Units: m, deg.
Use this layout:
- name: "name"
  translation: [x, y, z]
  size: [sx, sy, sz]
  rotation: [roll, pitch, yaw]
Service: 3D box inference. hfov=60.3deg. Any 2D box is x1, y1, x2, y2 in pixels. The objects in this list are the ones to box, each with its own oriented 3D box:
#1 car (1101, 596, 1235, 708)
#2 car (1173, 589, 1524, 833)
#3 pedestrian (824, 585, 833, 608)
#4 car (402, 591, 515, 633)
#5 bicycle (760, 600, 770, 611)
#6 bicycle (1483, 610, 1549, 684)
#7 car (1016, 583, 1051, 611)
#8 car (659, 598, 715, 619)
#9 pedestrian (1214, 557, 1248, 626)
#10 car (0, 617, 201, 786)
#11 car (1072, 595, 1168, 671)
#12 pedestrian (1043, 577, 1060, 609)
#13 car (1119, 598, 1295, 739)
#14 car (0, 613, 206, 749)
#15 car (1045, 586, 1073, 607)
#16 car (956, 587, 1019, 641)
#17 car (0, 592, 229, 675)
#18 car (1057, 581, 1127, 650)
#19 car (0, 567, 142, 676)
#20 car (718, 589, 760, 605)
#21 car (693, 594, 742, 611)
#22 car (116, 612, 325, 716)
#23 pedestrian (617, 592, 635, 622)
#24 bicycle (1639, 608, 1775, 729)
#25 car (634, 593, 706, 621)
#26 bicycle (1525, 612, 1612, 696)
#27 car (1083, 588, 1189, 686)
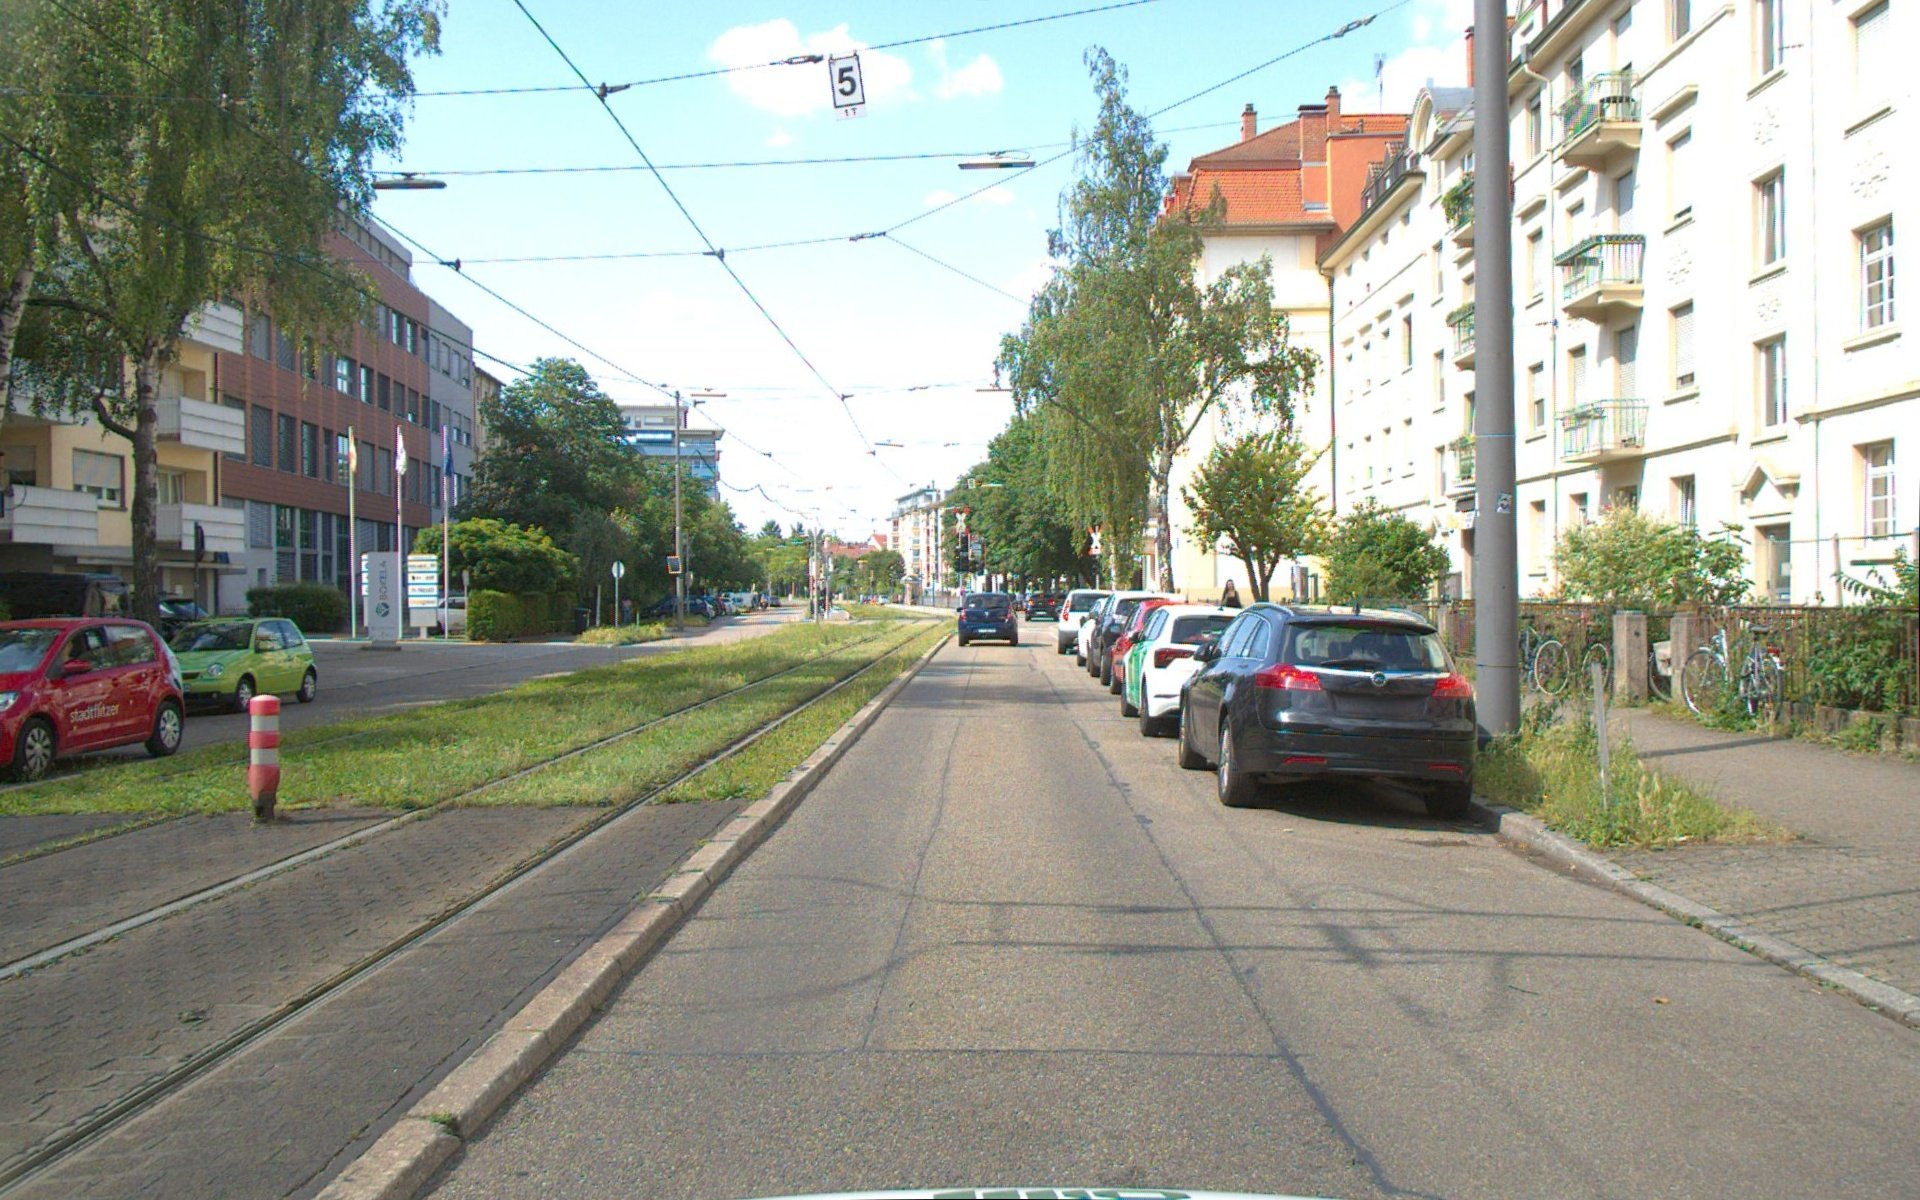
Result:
- name: "car"
  translation: [3.055, 0.717, 24.952]
  size: [1.556, 1.478, 3.845]
  rotation: [3, 0, 1]
- name: "car"
  translation: [2.859, 0.719, 13.209]
  size: [1.755, 1.547, 4.527]
  rotation: [2, 1, 1]
- name: "pedestrian"
  translation: [-10.156, -0.267, 127.826]
  size: [0.591, 1.797, 0.639]
  rotation: [-1, 0, 5]
- name: "car"
  translation: [-20.120, 0.453, 66.487]
  size: [3.906, 1.624, 1.999]
  rotation: [-1, 0, -2]
- name: "bicycle"
  translation: [-18.697, 0.550, 158.823]
  size: [0.667, 0.988, 2.178]
  rotation: [-1, 0, -1]
- name: "bicycle"
  translation: [7.591, 0.623, 22.627]
  size: [0.379, 0.955, 1.586]
  rotation: [-1, 0, 1]
- name: "car"
  translation: [3.873, -0.172, 87.735]
  size: [1.665, 1.392, 3.514]
  rotation: [1, 0, 0]
- name: "car"
  translation: [-17.613, 0.540, 106.719]
  size: [3.363, 1.258, 1.519]
  rotation: [-1, 0, -44]
- name: "pedestrian"
  translation: [6.915, -0.224, 42.198]
  size: [0.714, 1.712, 0.691]
  rotation: [-3, 0, 5]
- name: "car"
  translation: [-9.118, 0.929, 16.180]
  size: [1.546, 1.411, 3.694]
  rotation: [-1, 0, 2]
- name: "car"
  translation: [3.299, 0.645, 34.597]
  size: [1.638, 1.441, 3.795]
  rotation: [2, 0, 1]
- name: "pedestrian"
  translation: [5.239, -0.416, 95.054]
  size: [0.853, 1.806, 1.003]
  rotation: [0, 0, -4]
- name: "car"
  translation: [2.831, 0.730, 19.661]
  size: [1.586, 1.478, 3.919]
  rotation: [1, 0, 1]
- name: "car"
  translation: [-11.554, 0.969, 21.295]
  size: [1.610, 1.503, 4.227]
  rotation: [-2, 0, 2]
- name: "car"
  translation: [7.317, -0.265, 122.604]
  size: [1.823, 1.470, 4.000]
  rotation: [-2, 0, 1]
- name: "car"
  translation: [0.843, 0.378, 48.167]
  size: [1.731, 1.487, 3.777]
  rotation: [0, 0, 2]
- name: "car"
  translation: [-17.953, 0.694, 35.167]
  size: [3.904, 1.630, 1.973]
  rotation: [1, 0, 1]
- name: "car"
  translation: [3.410, 0.363, 42.917]
  size: [1.685, 1.658, 4.002]
  rotation: [2, 0, 4]
- name: "car"
  translation: [-18.662, 0.380, 32.777]
  size: [3.903, 2.049, 1.938]
  rotation: [1, 0, 5]
- name: "car"
  translation: [-22.843, -0.305, 170.952]
  size: [3.961, 1.472, 1.704]
  rotation: [-2, 1, -39]
- name: "car"
  translation: [-20.597, 0.203, 140.621]
  size: [1.687, 1.391, 3.973]
  rotation: [-1, 0, 44]
- name: "car"
  translation: [-11.645, 0.961, 26.297]
  size: [1.561, 1.457, 3.615]
  rotation: [-1, 0, 2]
- name: "pedestrian"
  translation: [-18.295, 0.382, 90.632]
  size: [0.729, 1.601, 0.890]
  rotation: [-1, -1, 4]
- name: "bicycle"
  translation: [7.466, 0.648, 16.634]
  size: [0.461, 1.096, 2.183]
  rotation: [-1, 0, 3]
- name: "car"
  translation: [-17.704, 0.415, 101.192]
  size: [4.101, 1.669, 1.698]
  rotation: [-1, 0, -44]
- name: "bicycle"
  translation: [7.584, 0.647, 20.674]
  size: [0.370, 0.960, 2.009]
  rotation: [-1, 0, 1]
- name: "car"
  translation: [3.093, 0.609, 29.646]
  size: [1.463, 1.607, 3.759]
  rotation: [2, 0, 0]
